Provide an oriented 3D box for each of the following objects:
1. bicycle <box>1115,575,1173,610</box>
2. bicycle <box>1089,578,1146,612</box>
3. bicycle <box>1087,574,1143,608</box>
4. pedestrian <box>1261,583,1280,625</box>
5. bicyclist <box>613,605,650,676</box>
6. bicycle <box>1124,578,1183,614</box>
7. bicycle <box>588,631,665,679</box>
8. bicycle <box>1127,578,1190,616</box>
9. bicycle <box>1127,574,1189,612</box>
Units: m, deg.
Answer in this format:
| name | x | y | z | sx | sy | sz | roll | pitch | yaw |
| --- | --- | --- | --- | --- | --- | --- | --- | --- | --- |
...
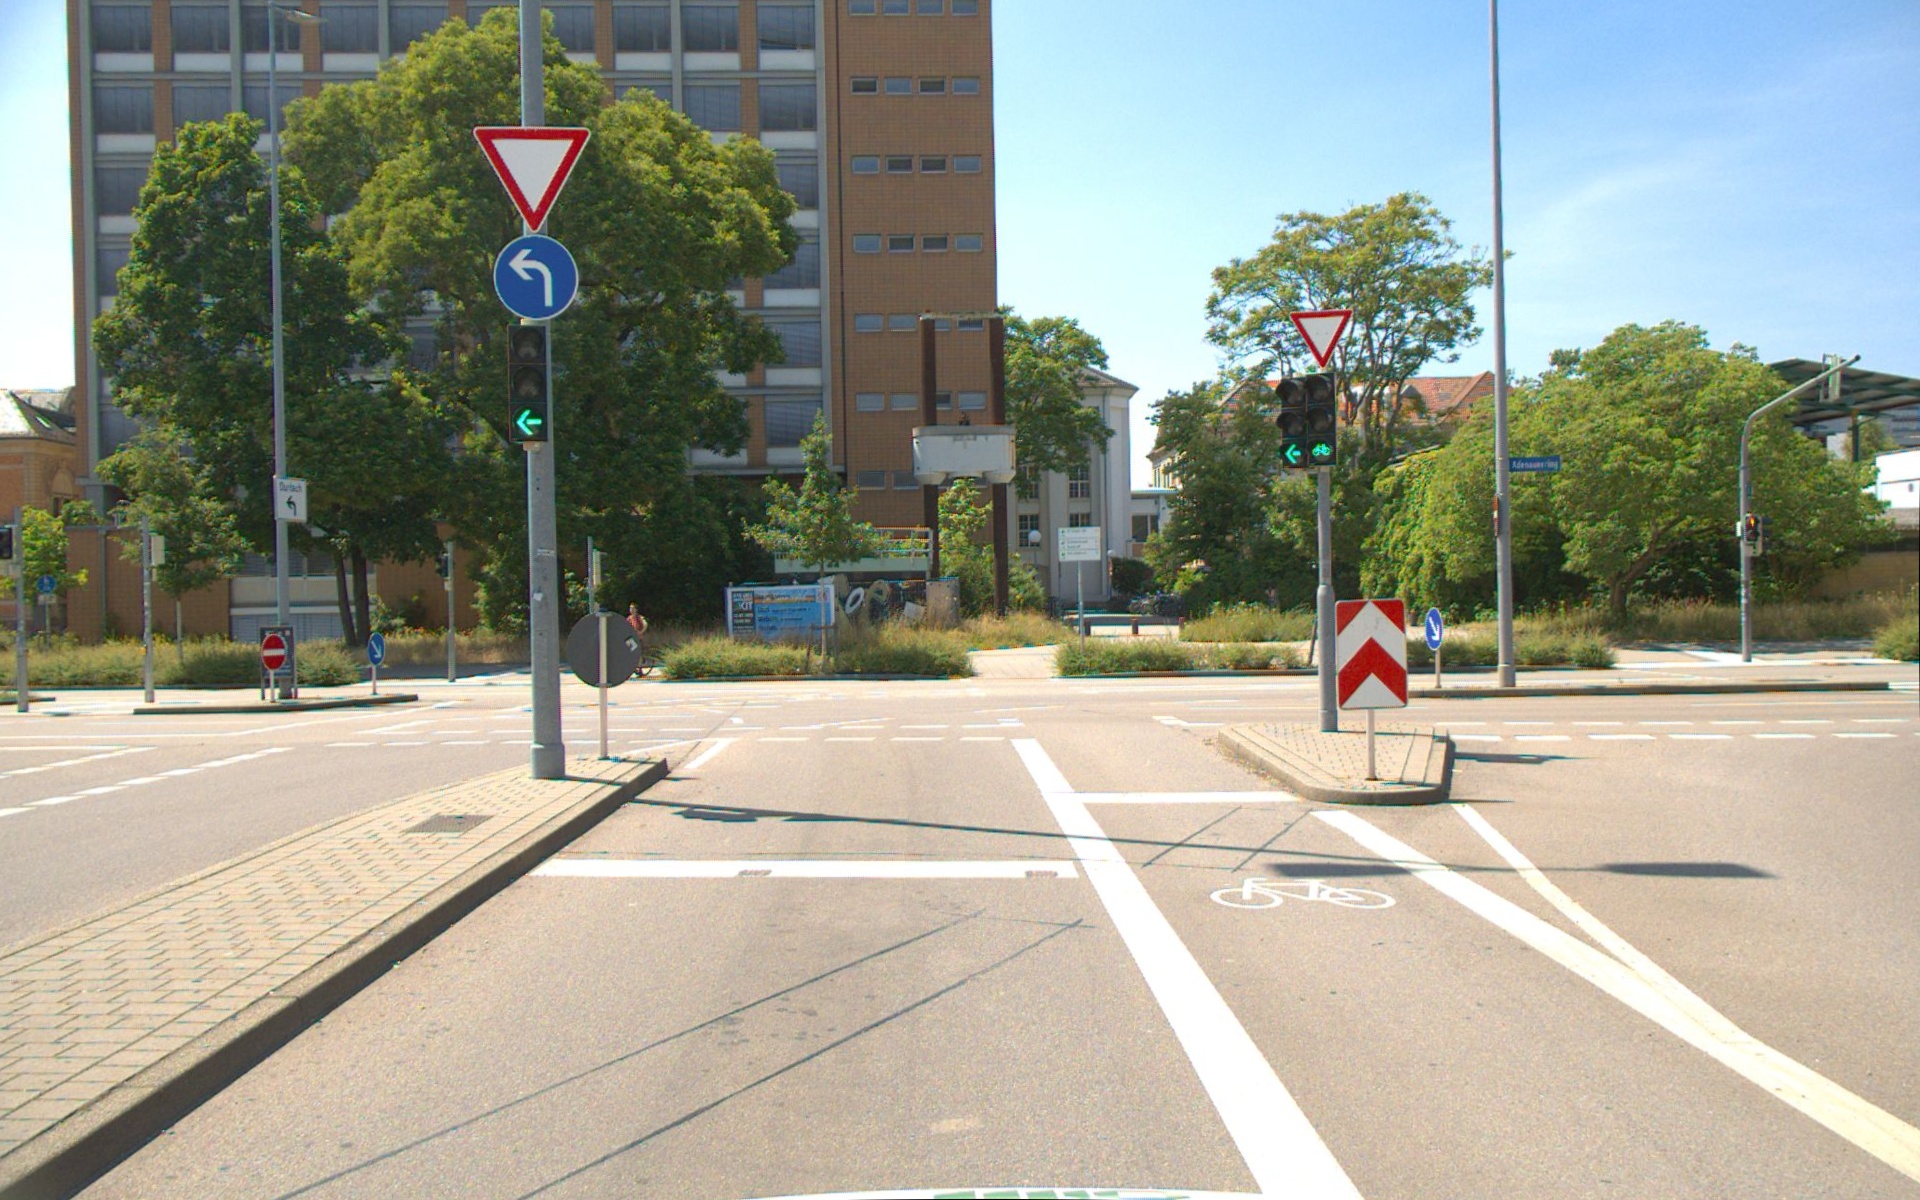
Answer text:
| name | x | y | z | sx | sy | sz | roll | pitch | yaw |
| --- | --- | --- | --- | --- | --- | --- | --- | --- | --- |
| bicycle | 10.972 | -0.458 | 98.809 | 3.376 | 2.049 | 0.760 | 1 | 0 | 0 |
| bicycle | 9.575 | -0.289 | 100.733 | 3.376 | 2.049 | 0.760 | 1 | 0 | 0 |
| bicycle | 9.662 | -0.550 | 103.168 | 3.376 | 2.049 | 0.760 | 1 | 0 | 0 |
| pedestrian | 12.864 | 0.161 | 68.579 | 0.626 | 1.694 | 0.706 | 1 | 0 | -2 |
| bicyclist | -8.254 | 1.009 | 41.569 | 0.541 | 1.745 | 0.699 | 1 | 1 | 39 |
| bicycle | 11.300 | -0.259 | 96.556 | 3.376 | 2.049 | 0.760 | 1 | 0 | 0 |
| bicycle | -8.349 | 1.369 | 41.480 | 0.548 | 1.063 | 1.987 | 0 | 2 | 40 |
| bicycle | 10.978 | -0.170 | 91.634 | 3.376 | 2.049 | 0.760 | 1 | 0 | 0 |
| bicycle | 11.146 | -0.393 | 93.153 | 3.376 | 2.049 | 0.760 | 1 | 0 | 0 |
